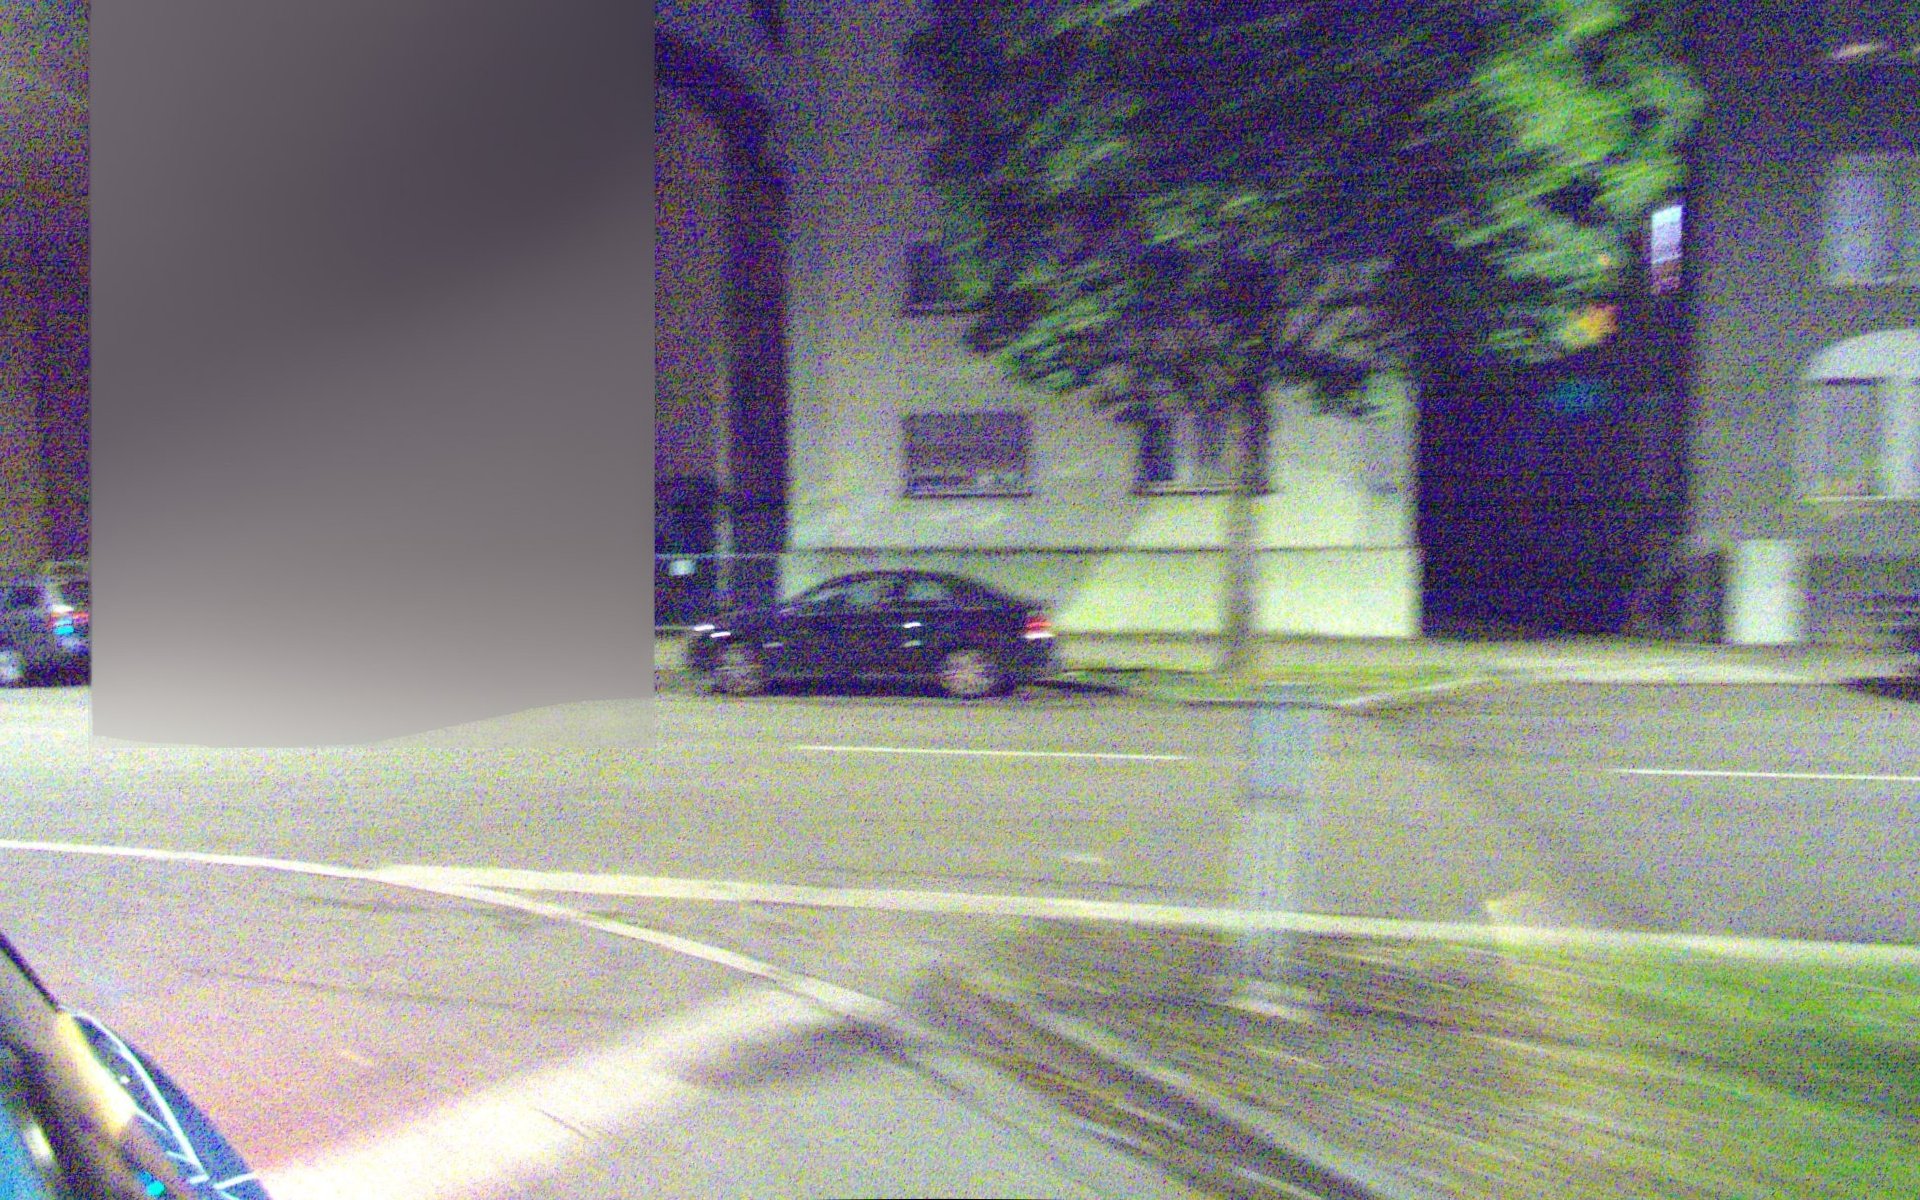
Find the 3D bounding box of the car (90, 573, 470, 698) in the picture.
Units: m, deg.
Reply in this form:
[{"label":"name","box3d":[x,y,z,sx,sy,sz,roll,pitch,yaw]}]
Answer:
[{"label":"car","box3d":[-8.987,0.430,13.481,4.301,1.444,1.552,0,5,11]}]

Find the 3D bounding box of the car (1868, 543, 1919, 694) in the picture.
[{"label":"car","box3d":[11.624,0.192,9.336,4.426,1.490,1.860,0,3,12]}]

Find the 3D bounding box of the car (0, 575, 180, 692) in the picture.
[{"label":"car","box3d":[-13.780,0.444,14.440,4.300,1.444,1.640,-1,5,9]}]

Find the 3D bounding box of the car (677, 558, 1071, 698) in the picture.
[{"label":"car","box3d":[-0.911,0.280,12.082,4.354,1.444,1.862,-1,4,9]}]
